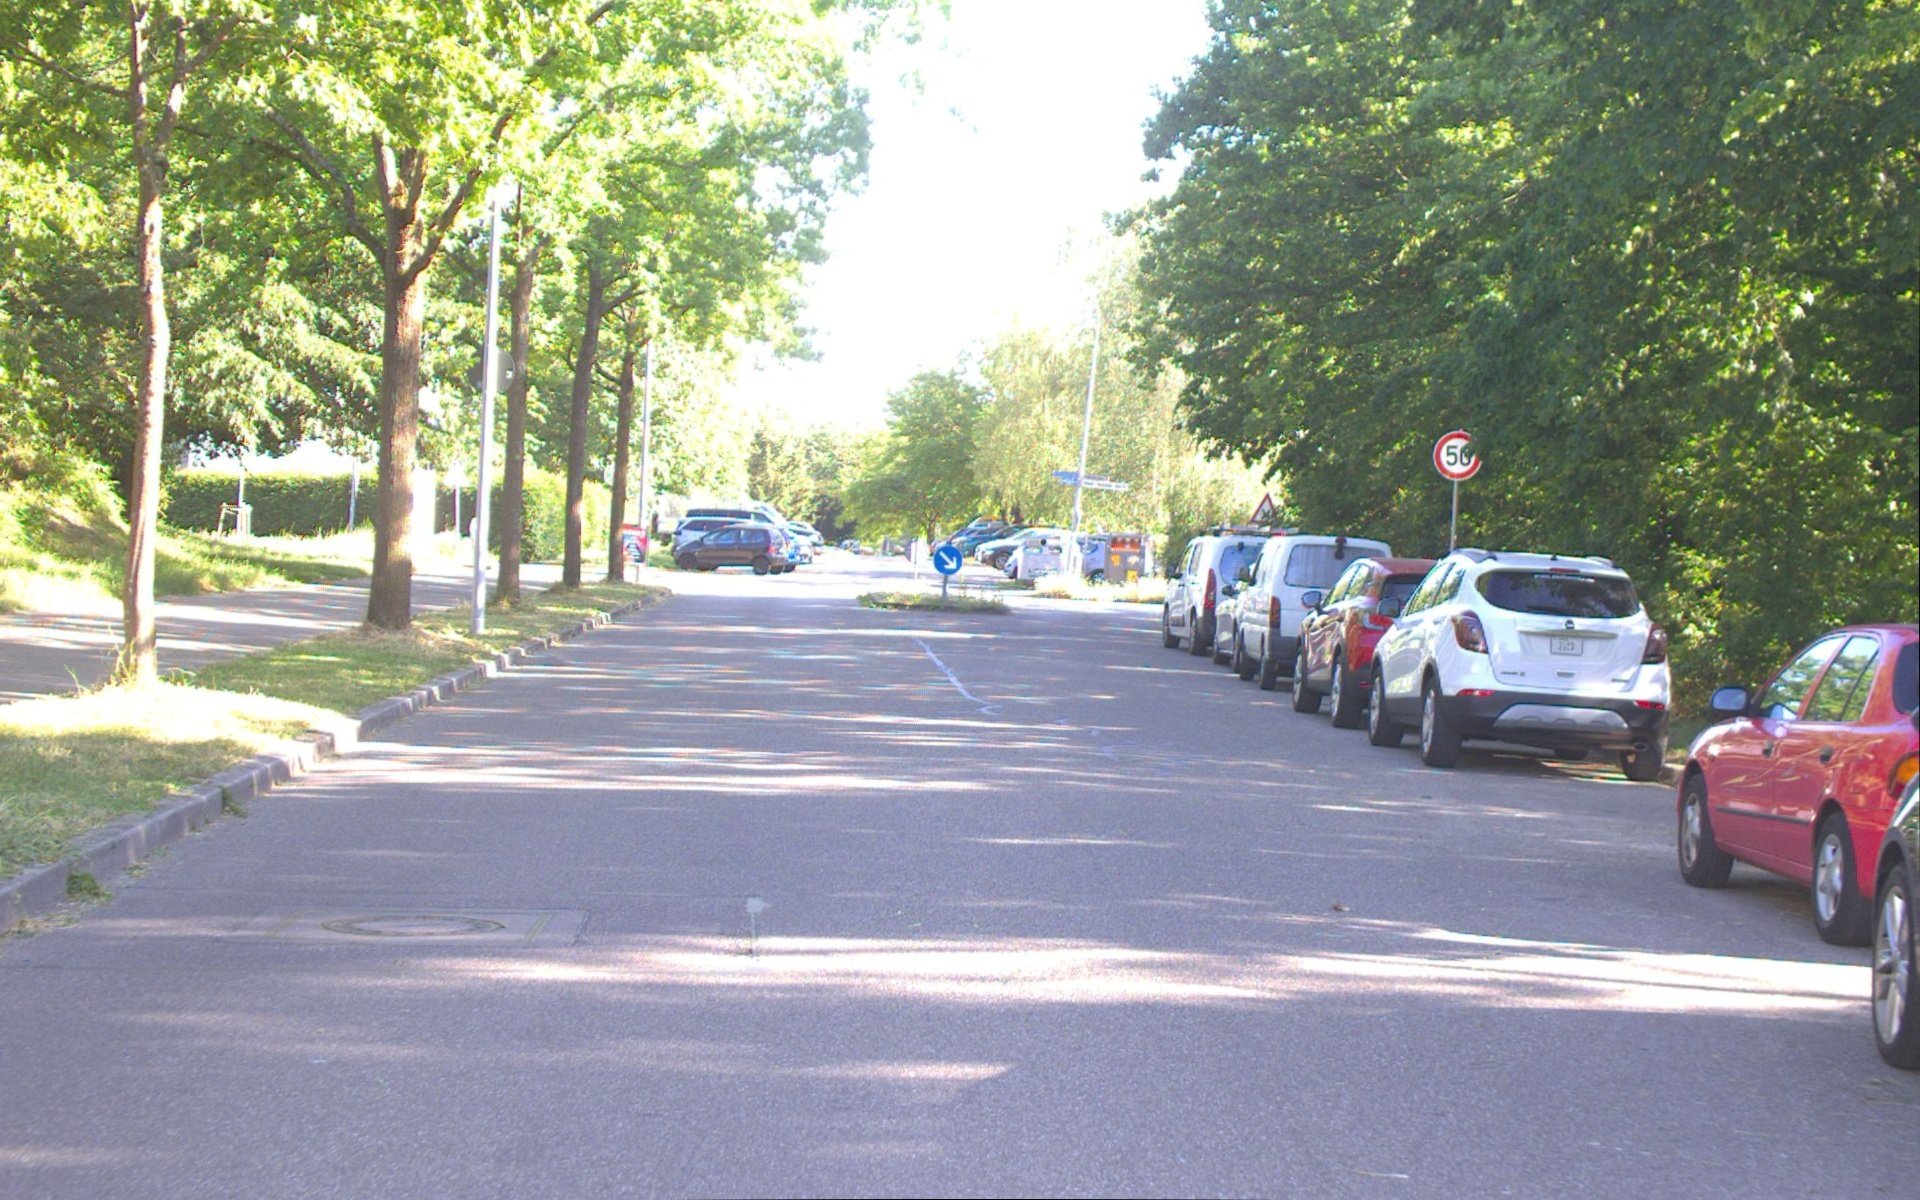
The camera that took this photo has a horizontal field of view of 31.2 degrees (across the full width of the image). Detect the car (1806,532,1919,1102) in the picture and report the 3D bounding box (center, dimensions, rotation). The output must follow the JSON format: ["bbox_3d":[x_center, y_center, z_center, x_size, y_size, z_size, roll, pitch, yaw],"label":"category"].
[{"bbox_3d":[3.700,0.705,9.262,1.810,1.645,4.420,5,1,3],"label":"car"}]

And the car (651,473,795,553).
[{"bbox_3d":[-9.003,-3.298,130.350,5.199,2.612,2.294,5,1,-6],"label":"car"}]

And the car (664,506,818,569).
[{"bbox_3d":[-6.687,-1.916,105.149,4.319,1.571,2.046,5,1,6],"label":"car"}]

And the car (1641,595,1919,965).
[{"bbox_3d":[4.450,0.767,15.658,1.661,1.371,4.155,5,1,-2],"label":"car"}]

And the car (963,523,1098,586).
[{"bbox_3d":[2.150,-1.384,103.590,3.839,1.571,1.688,5,1,5],"label":"car"}]

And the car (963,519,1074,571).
[{"bbox_3d":[2.165,-2.015,126.198,3.839,1.571,1.688,5,1,5],"label":"car"}]

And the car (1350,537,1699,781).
[{"bbox_3d":[4.324,0.394,26.955,1.775,1.616,4.065,5,1,-3],"label":"car"}]

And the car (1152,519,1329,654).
[{"bbox_3d":[4.140,-0.241,51.394,1.790,1.779,4.558,5,1,-5],"label":"car"}]

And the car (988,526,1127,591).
[{"bbox_3d":[2.870,-1.225,100.778,3.839,1.571,1.688,5,1,5],"label":"car"}]

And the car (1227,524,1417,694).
[{"bbox_3d":[4.183,0.064,40.159,1.623,1.767,3.669,5,1,-1],"label":"car"}]

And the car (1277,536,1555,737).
[{"bbox_3d":[4.209,0.286,32.314,1.775,1.616,4.065,5,1,-3],"label":"car"}]

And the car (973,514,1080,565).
[{"bbox_3d":[2.523,-2.277,129.330,3.839,1.571,1.688,5,1,3],"label":"car"}]

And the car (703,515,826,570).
[{"bbox_3d":[-6.903,-2.035,121.455,4.107,1.571,1.958,5,1,1],"label":"car"}]

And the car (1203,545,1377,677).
[{"bbox_3d":[4.296,0.104,45.254,1.691,1.507,4.207,5,1,-1],"label":"car"}]
